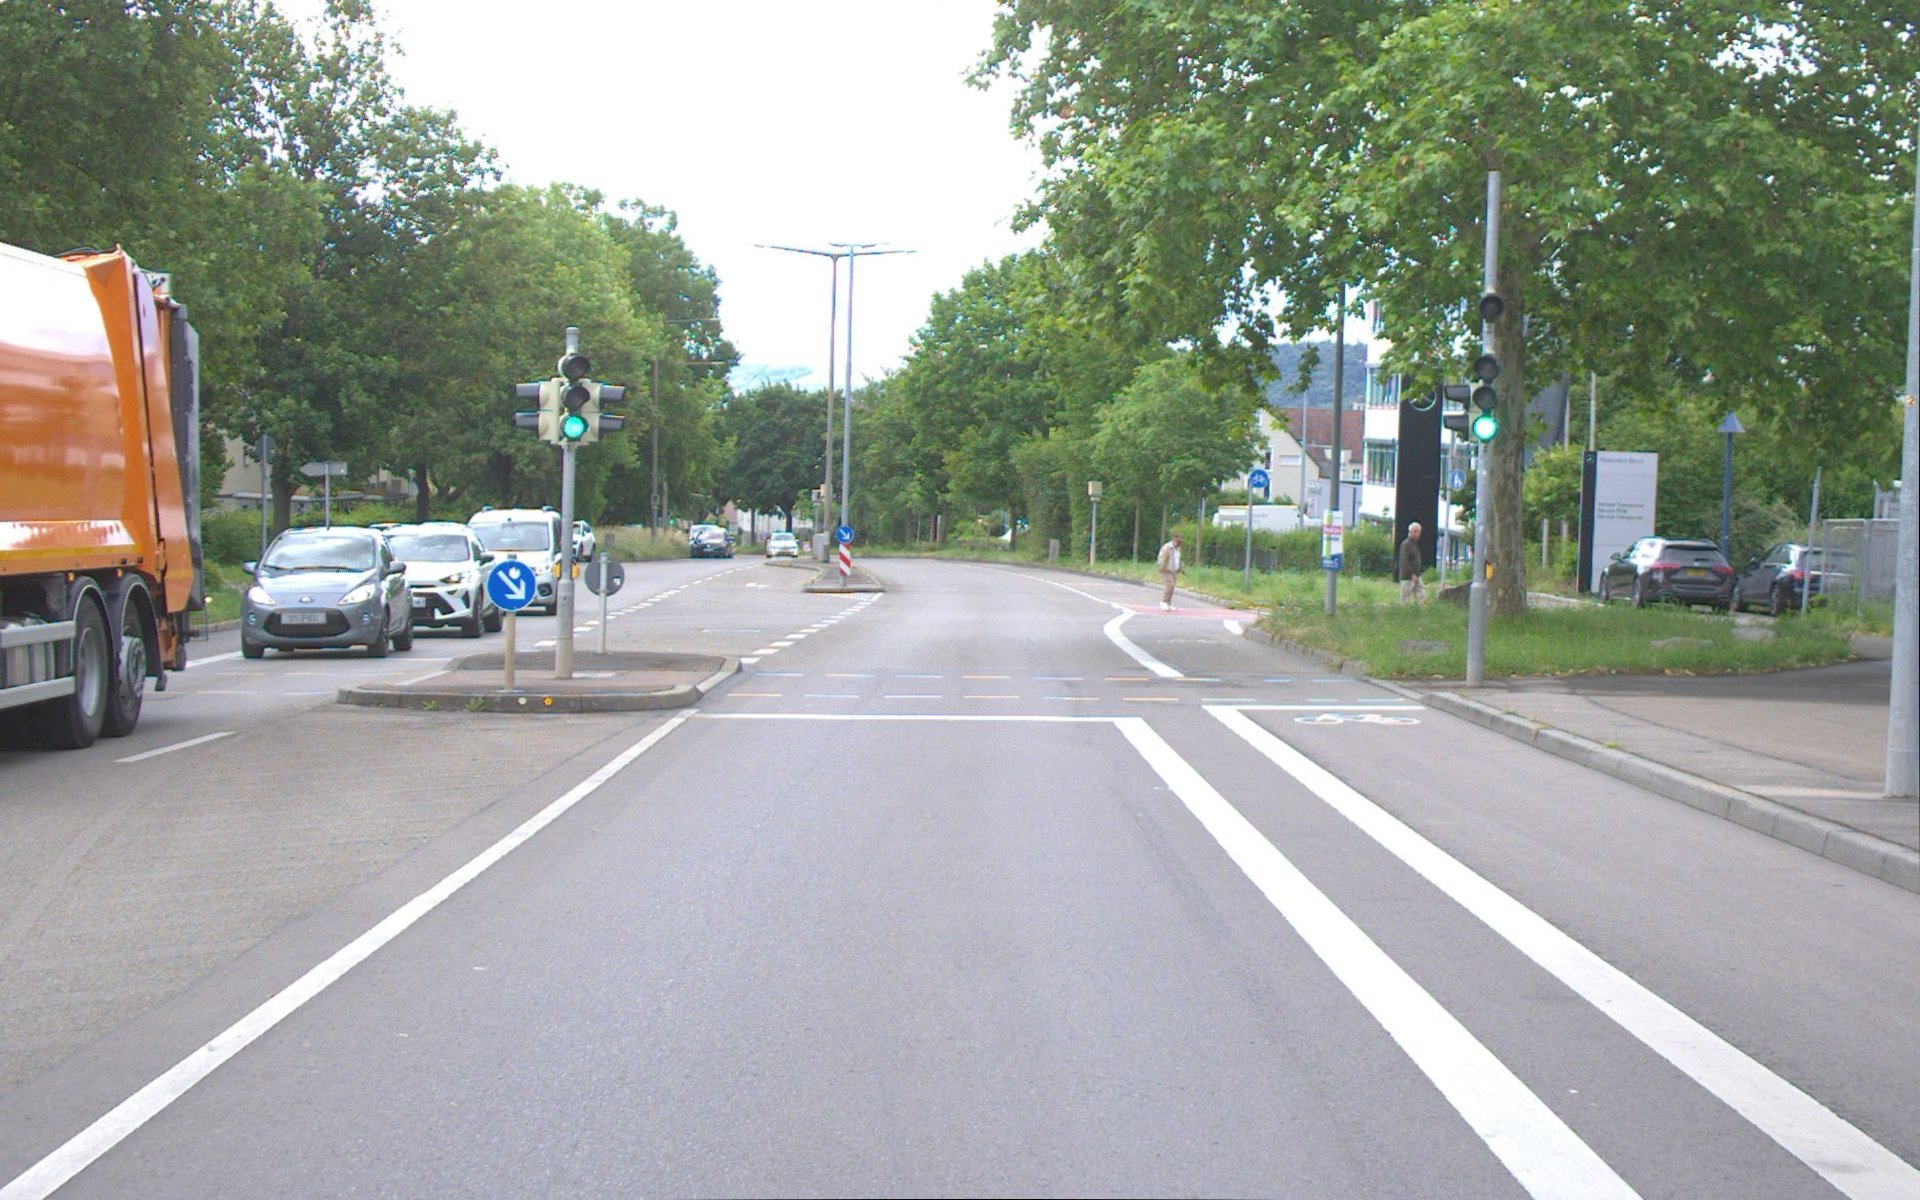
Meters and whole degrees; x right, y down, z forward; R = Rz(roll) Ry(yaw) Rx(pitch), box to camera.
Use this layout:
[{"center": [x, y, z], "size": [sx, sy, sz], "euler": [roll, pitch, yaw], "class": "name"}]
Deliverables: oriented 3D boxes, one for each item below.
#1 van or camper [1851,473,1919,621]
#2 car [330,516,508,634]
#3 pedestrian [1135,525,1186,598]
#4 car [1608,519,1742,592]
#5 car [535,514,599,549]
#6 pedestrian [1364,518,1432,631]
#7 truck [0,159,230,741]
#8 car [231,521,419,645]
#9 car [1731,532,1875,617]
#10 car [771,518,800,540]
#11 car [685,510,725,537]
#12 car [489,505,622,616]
[{"center": [19.518, -1.027, 67.334], "size": [1.965, 2.858, 6.921], "euler": [1, 2, -3], "class": "van or camper"}, {"center": [-7.458, -0.386, 47.759], "size": [1.846, 1.515, 4.816], "euler": [-1, 2, -2], "class": "car"}, {"center": [4.062, -0.779, 69.685], "size": [0.788, 1.458, 0.749], "euler": [1, 1, -19], "class": "pedestrian"}, {"center": [14.022, -0.901, 67.669], "size": [1.710, 1.349, 4.344], "euler": [1, 2, 0], "class": "car"}, {"center": [-15.387, -2.697, 134.703], "size": [1.673, 1.300, 3.999], "euler": [2, 1, 5], "class": "car"}, {"center": [7.091, -0.424, 55.610], "size": [0.748, 1.795, 0.860], "euler": [2, 2, 35], "class": "pedestrian"}, {"center": [-7.101, -0.970, 22.066], "size": [2.705, 3.475, 9.996], "euler": [2, 2, 0], "class": "truck"}, {"center": [-7.275, -0.232, 39.671], "size": [1.547, 1.326, 3.654], "euler": [-1, 2, -1], "class": "car"}, {"center": [16.647, -0.540, 68.097], "size": [1.710, 1.503, 4.344], "euler": [3, 2, 0], "class": "car"}, {"center": [-10.777, -4.409, 212.461], "size": [1.611, 1.300, 4.000], "euler": [2, 1, -1], "class": "car"}, {"center": [-12.889, -3.890, 173.761], "size": [1.771, 1.300, 4.000], "euler": [2, 1, -1], "class": "car"}, {"center": [-6.867, -0.716, 58.772], "size": [1.846, 1.797, 4.651], "euler": [-1, 2, -2], "class": "car"}]
